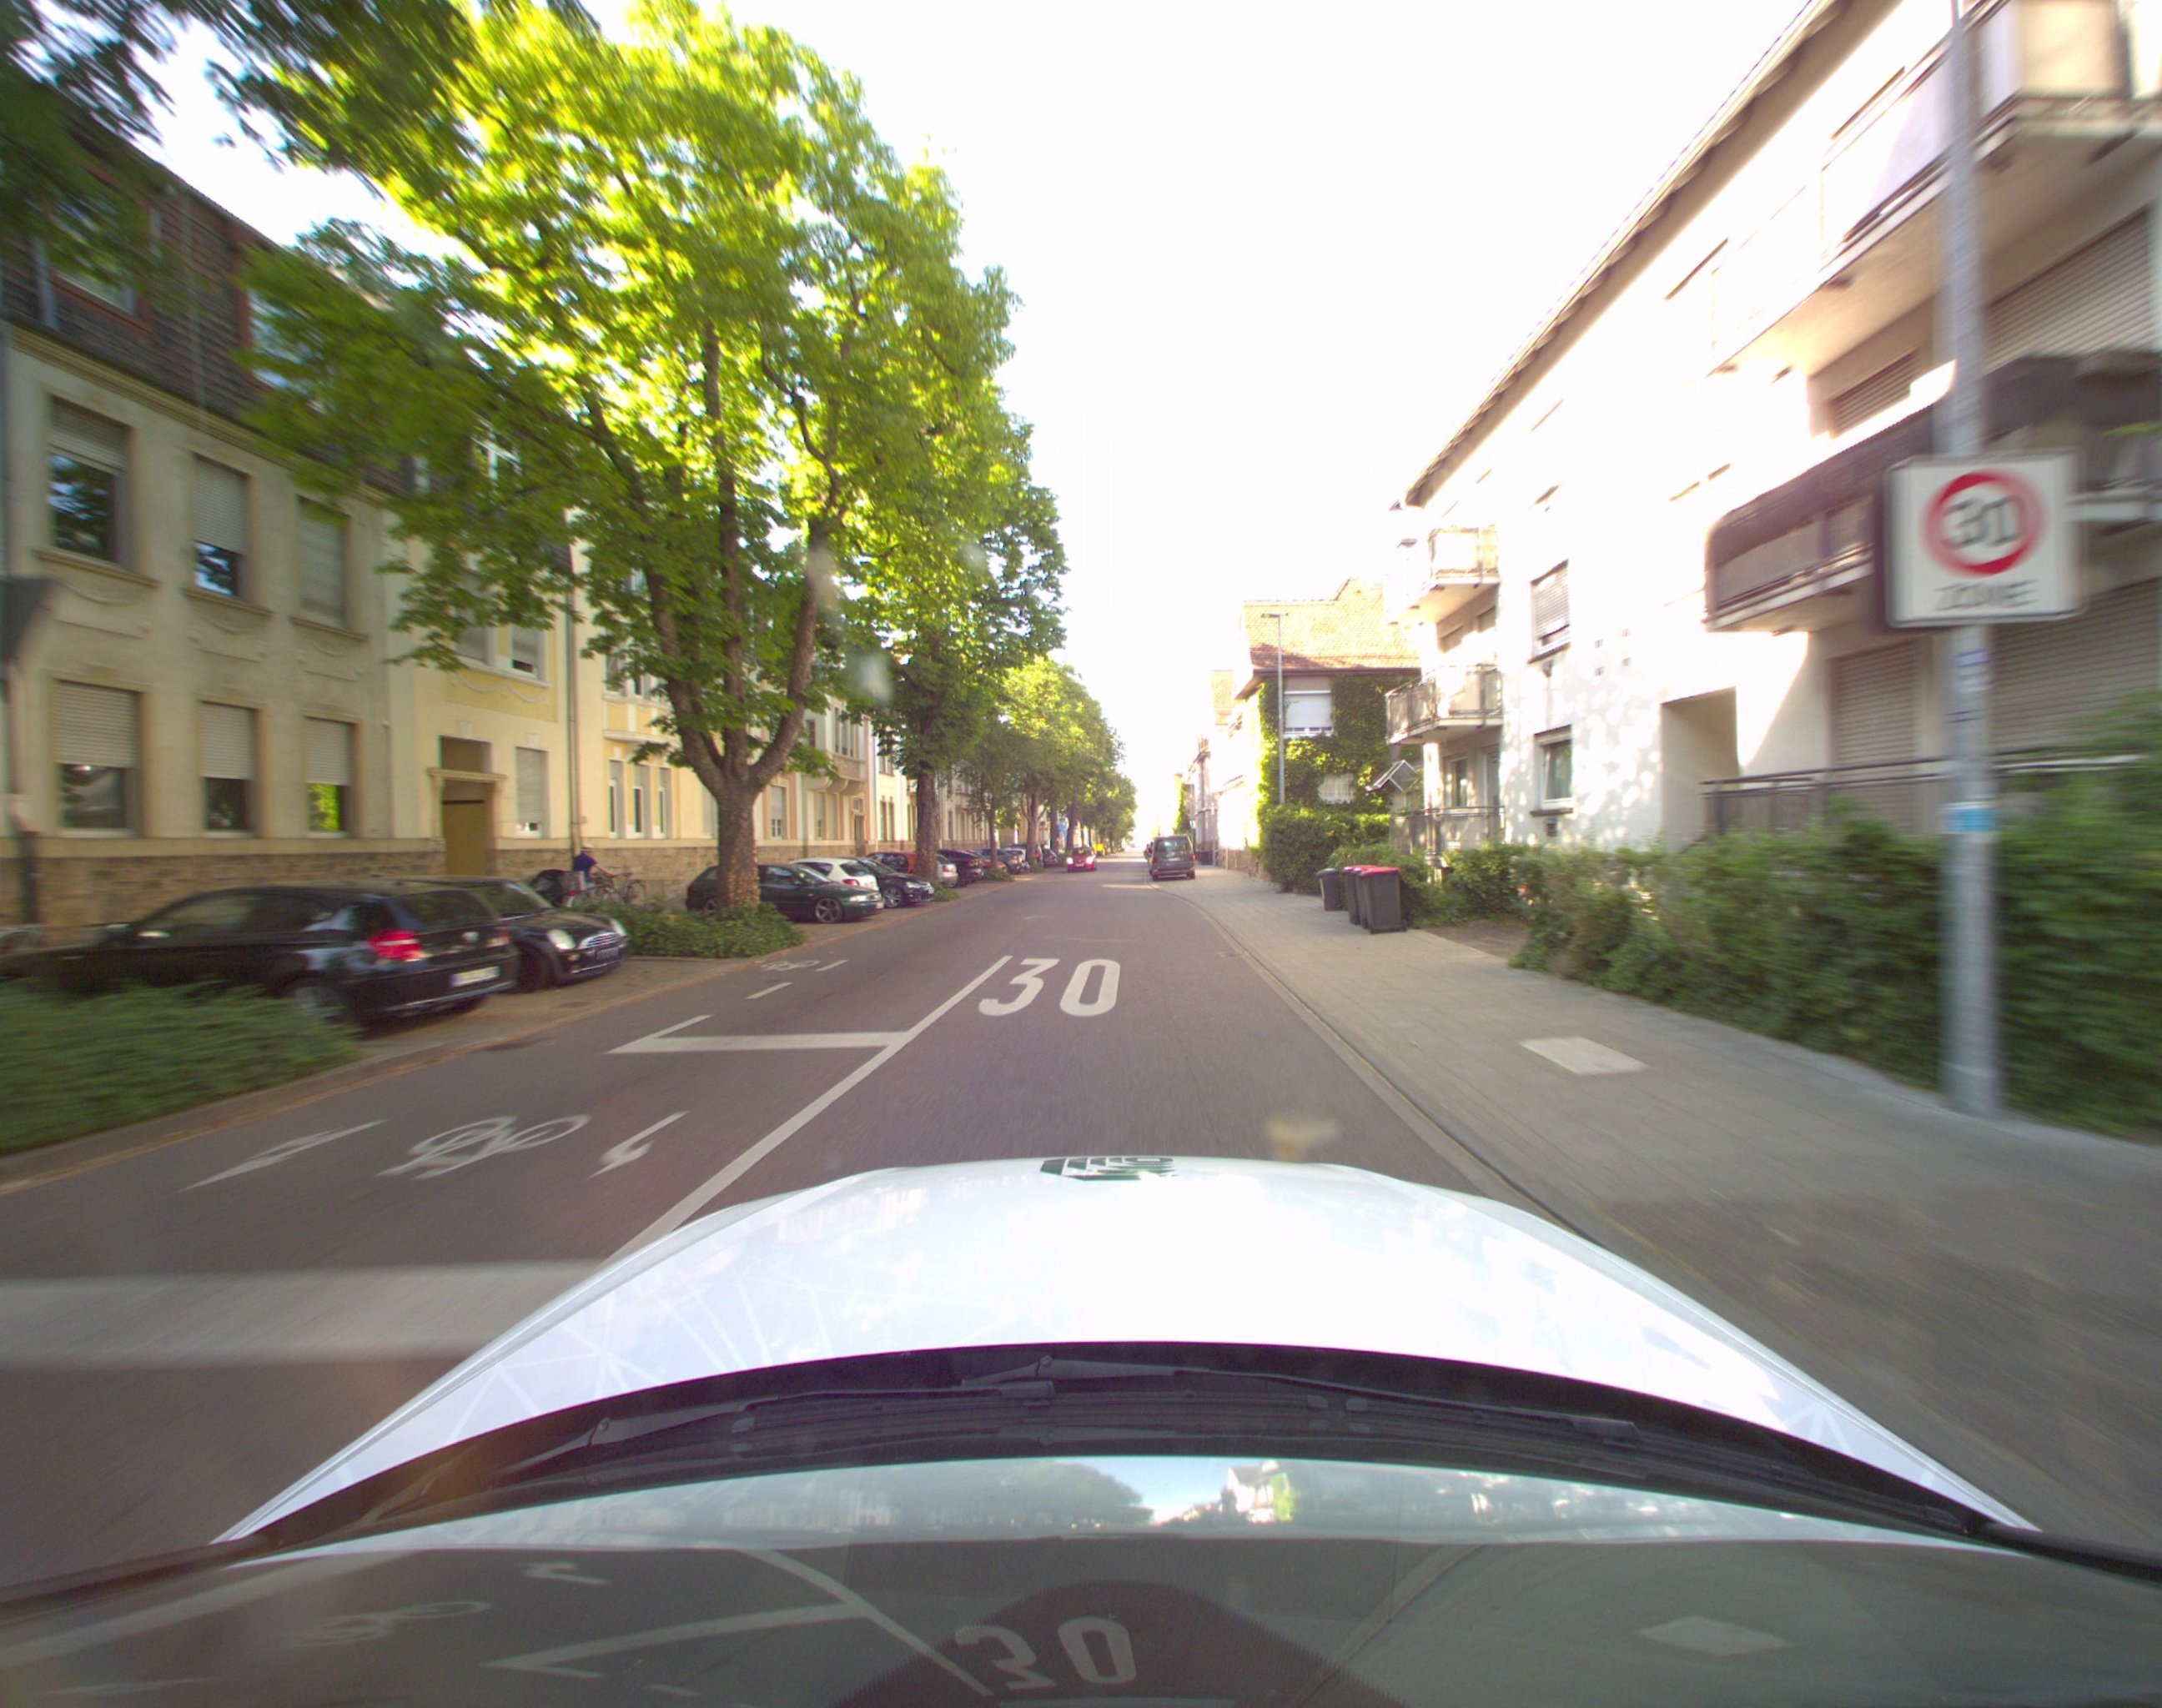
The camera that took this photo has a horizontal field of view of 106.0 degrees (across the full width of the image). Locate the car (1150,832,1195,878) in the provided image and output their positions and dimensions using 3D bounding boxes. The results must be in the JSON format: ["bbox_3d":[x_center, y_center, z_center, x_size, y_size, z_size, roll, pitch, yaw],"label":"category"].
[{"bbox_3d":[4.122,-0.001,37.360,1.856,1.916,4.789,-1,1,5],"label":"car"}]

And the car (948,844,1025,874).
[{"bbox_3d":[-5.183,0.257,45.083,3.970,1.592,1.861,0,1,3],"label":"car"}]

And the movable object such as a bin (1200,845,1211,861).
[{"bbox_3d":[8.805,-0.076,57.797,0.645,1.039,0.828,-2,1,2],"label":"movable object such as a bin"}]

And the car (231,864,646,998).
[{"bbox_3d":[-7.947,0.905,10.362,3.872,1.415,1.614,-1,1,-2],"label":"car"}]

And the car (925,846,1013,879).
[{"bbox_3d":[-5.474,0.417,39.983,3.969,1.514,1.749,-1,0,4],"label":"car"}]

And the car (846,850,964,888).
[{"bbox_3d":[-6.650,0.558,31.022,3.967,1.403,1.833,0,1,5],"label":"car"}]

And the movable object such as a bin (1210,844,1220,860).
[{"bbox_3d":[9.532,-0.143,57.825,0.566,1.039,0.618,-2,1,2],"label":"movable object such as a bin"}]

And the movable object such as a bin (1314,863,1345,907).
[{"bbox_3d":[5.580,0.690,18.285,0.501,0.915,0.574,-5,0,6],"label":"movable object such as a bin"}]

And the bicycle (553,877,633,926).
[{"bbox_3d":[-10.252,0.984,17.185,0.469,0.911,1.602,-1,1,11],"label":"bicycle"}]

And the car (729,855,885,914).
[{"bbox_3d":[-7.066,0.767,21.224,3.416,1.452,1.706,-1,0,6],"label":"car"}]

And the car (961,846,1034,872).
[{"bbox_3d":[-4.835,0.292,47.451,3.879,1.446,1.864,0,1,9],"label":"car"}]

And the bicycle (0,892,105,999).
[{"bbox_3d":[-12.669,1.087,9.307,0.511,1.154,1.985,1,2,4],"label":"bicycle"}]

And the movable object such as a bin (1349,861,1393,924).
[{"bbox_3d":[5.123,0.671,14.424,0.481,1.044,0.657,-5,0,2],"label":"movable object such as a bin"}]

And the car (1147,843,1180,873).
[{"bbox_3d":[4.927,0.221,48.762,1.780,1.600,4.006,-4,0,5],"label":"car"}]

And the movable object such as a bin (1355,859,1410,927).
[{"bbox_3d":[5.018,0.638,13.600,0.594,1.044,0.707,-5,0,2],"label":"movable object such as a bin"}]

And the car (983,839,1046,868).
[{"bbox_3d":[-4.409,-0.019,54.753,3.963,1.855,1.830,-1,0,3],"label":"car"}]

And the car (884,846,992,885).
[{"bbox_3d":[-5.805,0.449,33.388,3.967,1.566,1.866,0,1,5],"label":"car"}]

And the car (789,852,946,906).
[{"bbox_3d":[-6.114,0.698,23.577,3.967,1.482,1.788,-1,0,5],"label":"car"}]

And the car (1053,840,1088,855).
[{"bbox_3d":[-1.211,-0.759,94.383,3.973,1.760,1.798,1,0,0],"label":"car"}]

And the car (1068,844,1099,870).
[{"bbox_3d":[0.168,0.146,50.730,1.634,1.508,3.706,-3,1,4],"label":"car"}]

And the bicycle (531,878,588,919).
[{"bbox_3d":[-11.391,0.961,17.810,0.570,0.815,0.968,2,1,3],"label":"bicycle"}]

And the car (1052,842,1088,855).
[{"bbox_3d":[-1.249,-0.605,91.867,3.973,1.464,1.798,1,0,0],"label":"car"}]

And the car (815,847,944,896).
[{"bbox_3d":[-7.043,0.604,28.662,3.967,1.507,1.725,-2,0,5],"label":"car"}]

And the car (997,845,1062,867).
[{"bbox_3d":[-3.747,0.107,59.530,4.513,1.503,1.893,-1,0,2],"label":"car"}]

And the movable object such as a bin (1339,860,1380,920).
[{"bbox_3d":[5.159,0.661,15.097,0.481,1.044,0.619,-5,0,2],"label":"movable object such as a bin"}]

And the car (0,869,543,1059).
[{"bbox_3d":[-7.676,0.982,7.864,3.865,1.475,1.617,-2,0,3],"label":"car"}]

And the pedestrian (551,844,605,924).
[{"bbox_3d":[-10.703,0.619,17.350,0.457,1.658,0.898,-1,0,12],"label":"pedestrian"}]

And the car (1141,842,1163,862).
[{"bbox_3d":[6.264,-0.202,71.982,1.692,1.539,4.158,-4,1,3],"label":"car"}]

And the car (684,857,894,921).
[{"bbox_3d":[-6.670,0.779,18.857,4.193,1.349,1.705,-1,0,3],"label":"car"}]

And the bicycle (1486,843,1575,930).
[{"bbox_3d":[7.049,0.488,12.737,1.587,1.186,0.636,-5,1,-40],"label":"bicycle"}]
